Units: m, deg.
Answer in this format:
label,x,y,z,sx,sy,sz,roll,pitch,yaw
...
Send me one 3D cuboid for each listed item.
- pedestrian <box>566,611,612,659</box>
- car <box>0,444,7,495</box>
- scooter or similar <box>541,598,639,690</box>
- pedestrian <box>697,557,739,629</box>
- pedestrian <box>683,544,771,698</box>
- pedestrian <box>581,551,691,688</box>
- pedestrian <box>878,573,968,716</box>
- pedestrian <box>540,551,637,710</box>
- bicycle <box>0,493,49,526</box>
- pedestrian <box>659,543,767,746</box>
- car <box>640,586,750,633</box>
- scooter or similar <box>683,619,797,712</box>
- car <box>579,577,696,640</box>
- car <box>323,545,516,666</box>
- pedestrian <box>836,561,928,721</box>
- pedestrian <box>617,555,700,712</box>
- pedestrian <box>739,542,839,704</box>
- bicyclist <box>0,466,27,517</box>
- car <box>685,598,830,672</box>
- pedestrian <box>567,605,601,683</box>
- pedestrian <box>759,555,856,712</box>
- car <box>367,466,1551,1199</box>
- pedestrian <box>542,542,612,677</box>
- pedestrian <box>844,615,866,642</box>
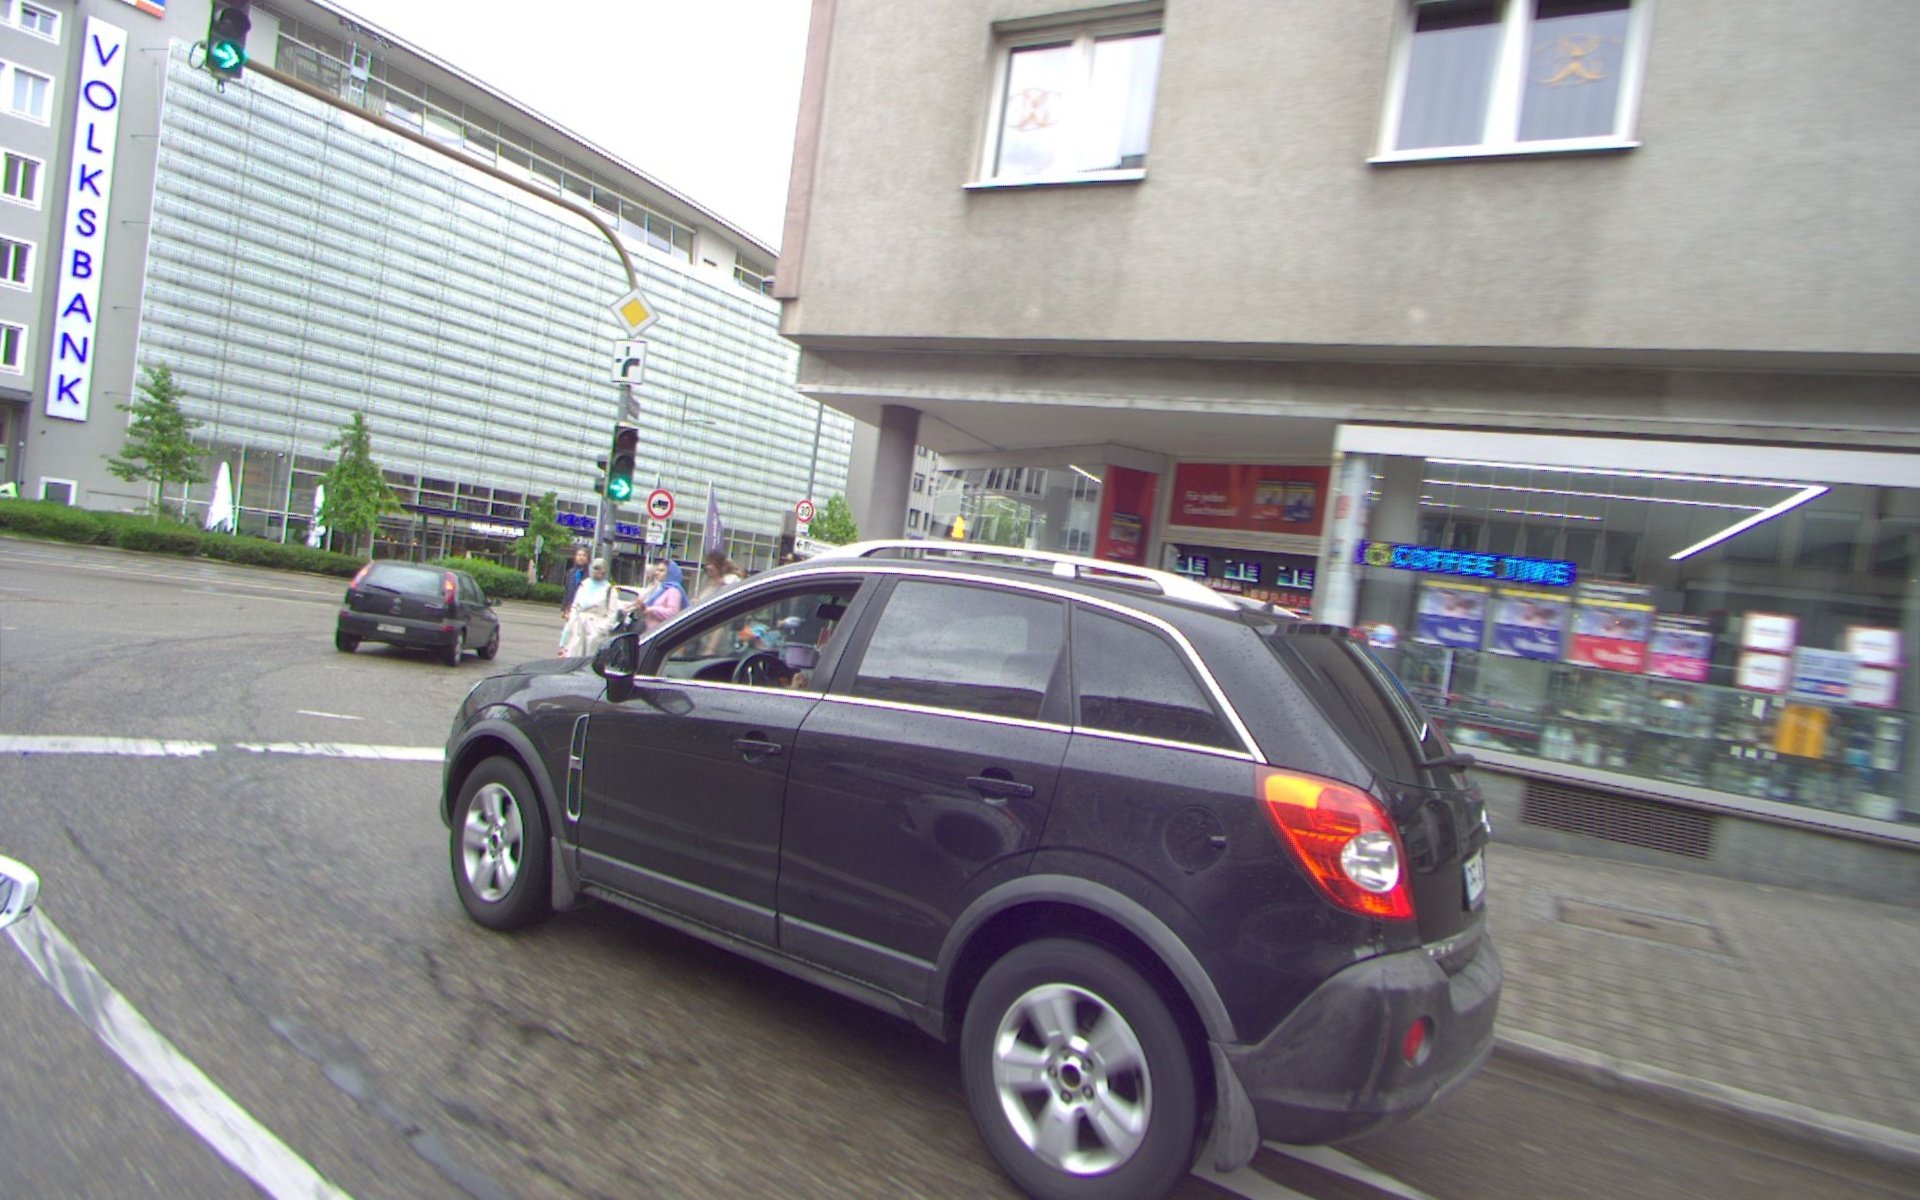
label,x,y,z,sx,sy,sz,roll,pitch,yaw
pedestrian,-4.918,0.461,13.342,0.452,0.578,0.370,7,3,44
car,-9.212,-0.600,7.598,2.077,1.838,4.745,9,-1,-35
scooter or similar,-4.901,0.590,13.339,0.646,1.124,0.967,7,3,43
pedestrian,-3.059,-0.087,12.706,0.219,0.857,0.435,9,-1,-44
pedestrian,-2.983,0.263,12.912,0.647,1.890,0.836,4,2,29
pedestrian,-4.435,0.276,13.782,0.826,1.745,1.033,8,2,41
pedestrian,-0.455,0.521,12.302,0.824,1.659,0.615,5,3,29
pedestrian,-4.085,0.320,11.068,0.823,1.659,0.539,3,2,24
bicycle,-34.946,-3.387,36.907,0.684,1.005,2.136,8,0,38
pedestrian,-2.212,0.385,8.969,0.621,1.714,0.776,4,1,-30
car,-11.471,0.456,43.888,1.964,1.441,4.635,8,-2,25
scooter or similar,-2.634,0.765,12.065,1.029,0.999,0.772,4,0,24
car,-10.148,0.318,31.999,1.920,1.592,4.003,10,-1,5
car,-8.345,0.138,15.906,1.697,1.435,3.762,9,-4,-15
pedestrian,-0.979,0.518,12.809,0.822,1.888,0.667,8,0,4
pedestrian,-3.330,0.368,11.104,0.735,1.656,0.593,3,1,-24
pedestrian,-2.176,0.297,12.849,0.720,1.956,0.818,6,1,33
bicyclist,-34.890,-3.987,36.855,0.614,1.726,0.843,8,1,39
car,-5.664,1.059,28.647,1.921,1.592,4.001,9,-1,24
pedestrian,-5.178,0.602,13.856,0.259,1.014,0.466,0,5,-42
pedestrian,-1.782,0.388,11.803,0.607,1.744,0.836,5,1,33
car,-0.250,0.653,4.040,4.232,1.807,1.909,9,0,34
pedestrian,-5.577,0.134,14.643,0.776,1.891,0.614,3,1,40
pedestrian,-7.265,2.005,69.898,0.803,1.733,1.314,8,-1,20
